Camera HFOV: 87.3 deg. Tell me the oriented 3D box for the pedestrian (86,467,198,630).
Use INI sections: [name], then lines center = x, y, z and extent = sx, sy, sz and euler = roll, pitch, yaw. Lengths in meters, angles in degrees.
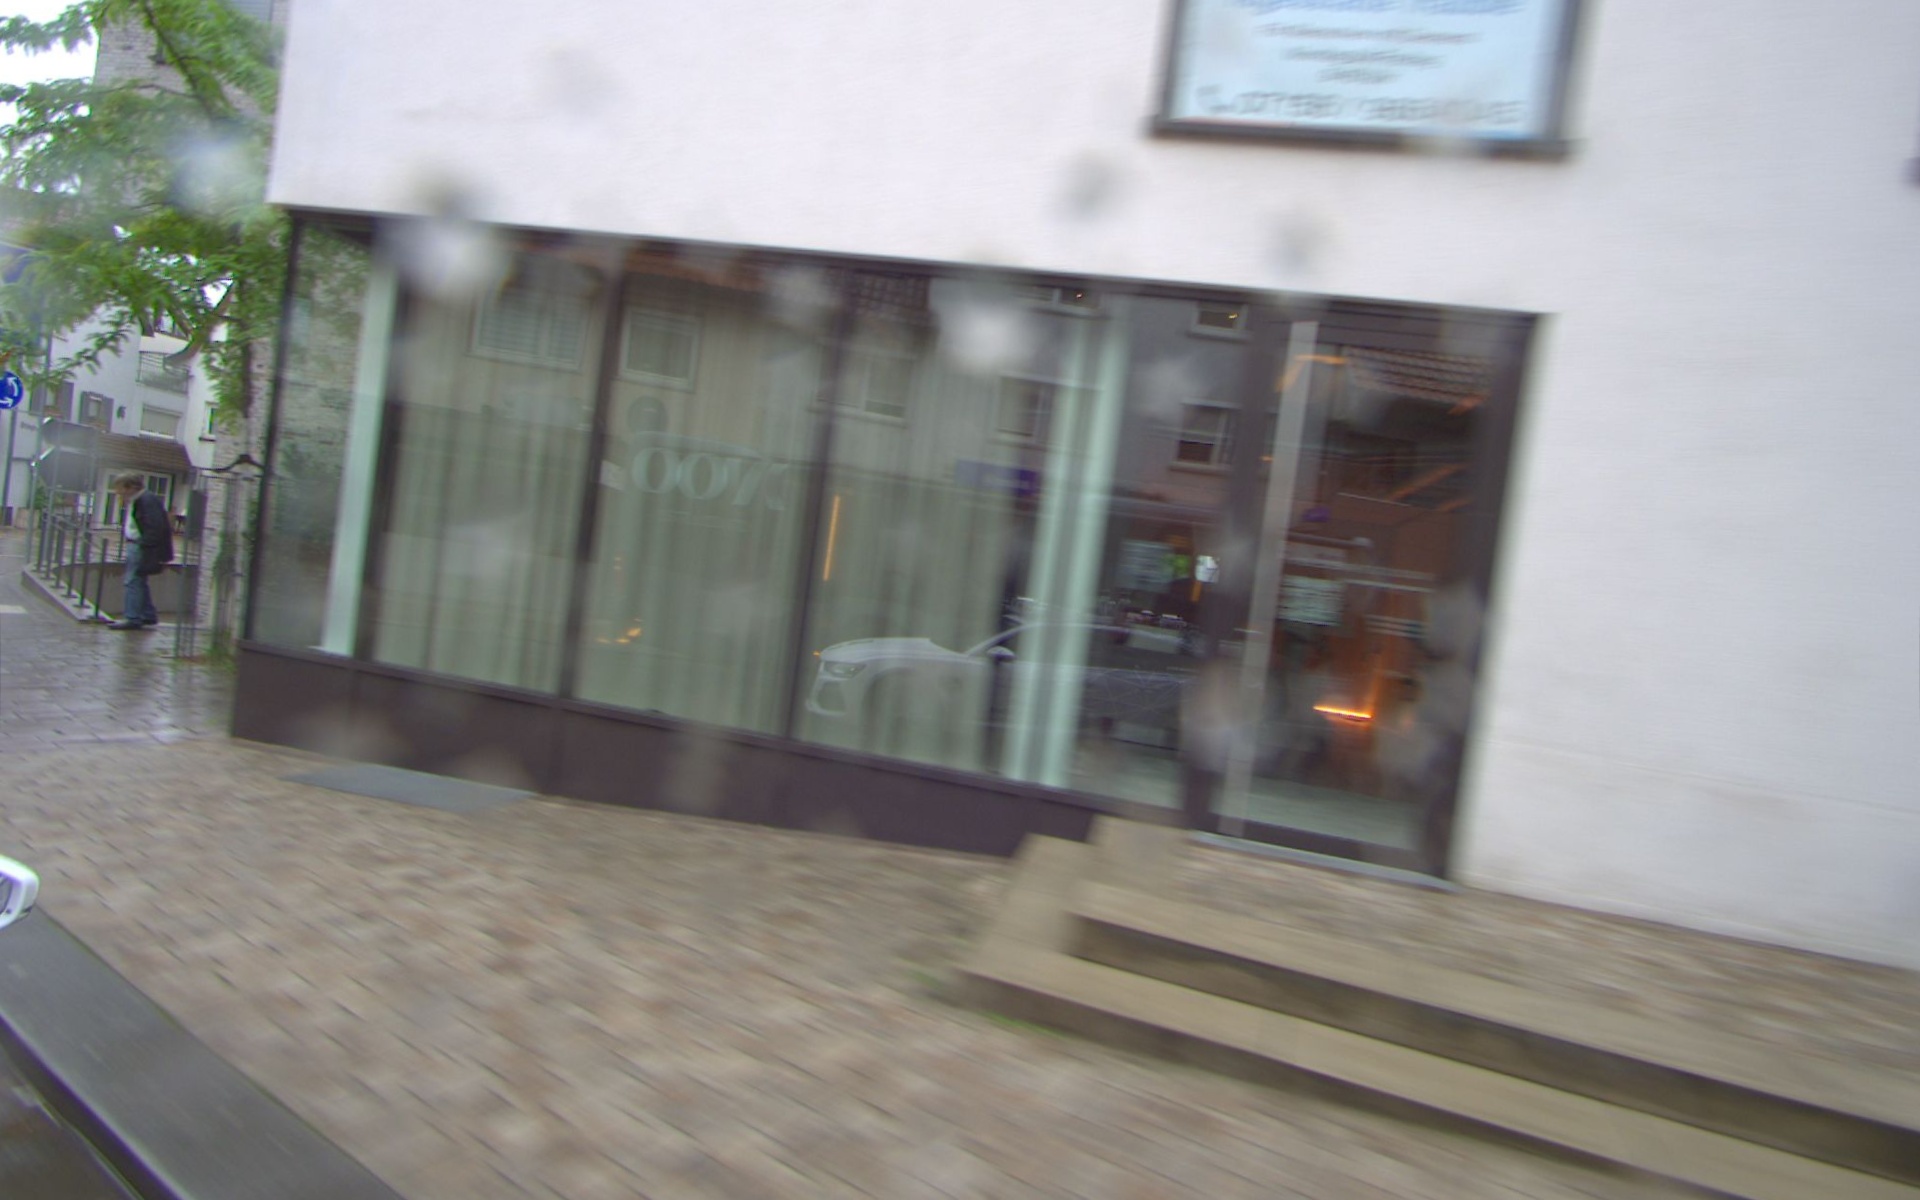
[pedestrian]
center = -8.696, -0.535, 10.696
extent = 0.691, 1.627, 0.583
euler = 7, 2, 23
